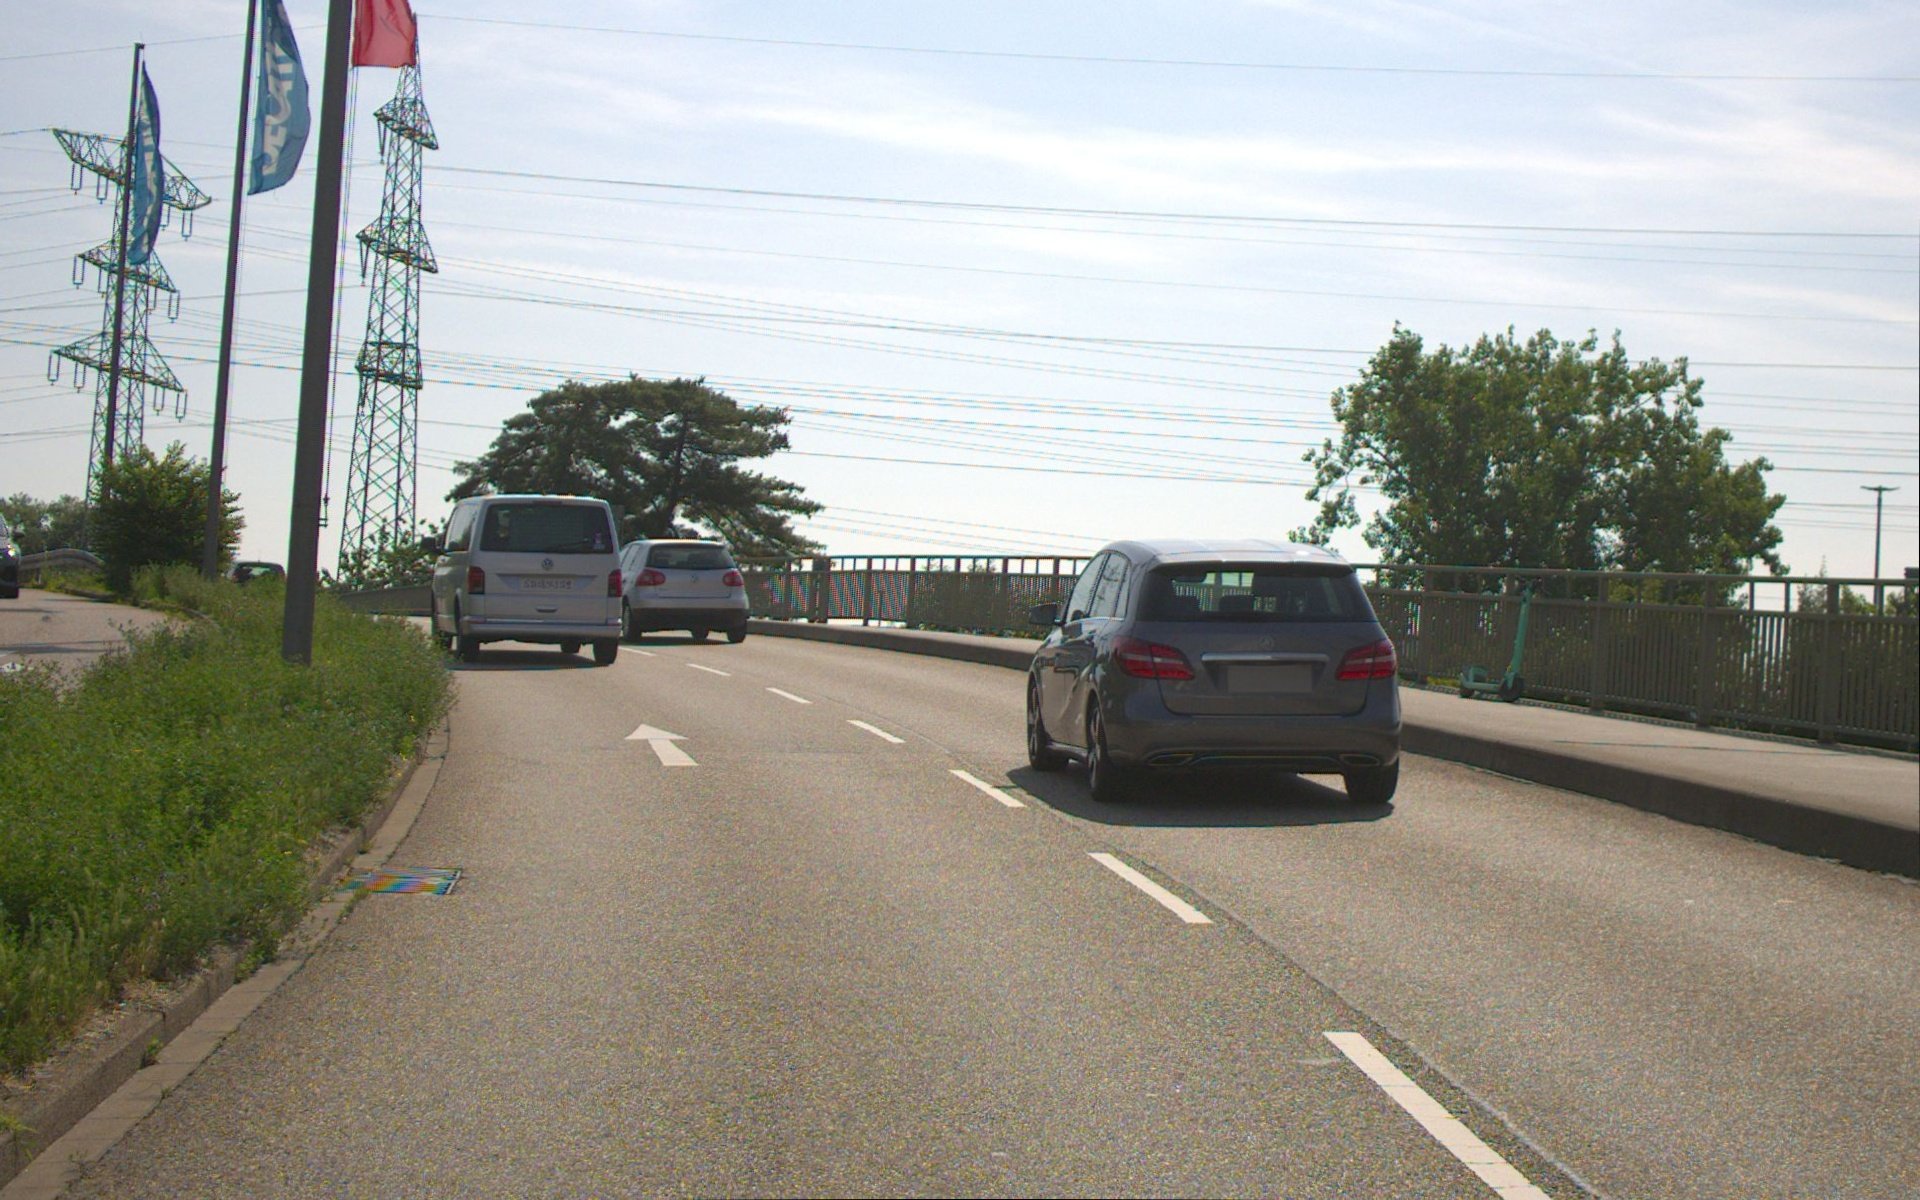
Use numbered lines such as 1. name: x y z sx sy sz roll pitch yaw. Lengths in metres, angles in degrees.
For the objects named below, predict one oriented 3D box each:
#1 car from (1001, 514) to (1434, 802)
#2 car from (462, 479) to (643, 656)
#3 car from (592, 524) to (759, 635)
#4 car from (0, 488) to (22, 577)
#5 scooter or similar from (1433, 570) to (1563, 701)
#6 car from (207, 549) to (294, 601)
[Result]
1. car: 1.467 0.346 21.253 1.856 1.524 4.144 3 -1 -6
2. car: -4.874 -0.402 41.062 2.039 2.007 4.001 0 1 -7
3. car: -4.197 -0.314 50.178 1.856 1.524 4.145 1 0 -13
4. car: -17.314 -1.210 59.587 1.783 1.479 4.261 1 1 -18
5. scooter or similar: 4.968 0.316 31.818 0.511 1.139 1.482 4 0 -17
6. car: -18.705 -0.679 90.528 1.773 1.327 3.742 0 1 -19
